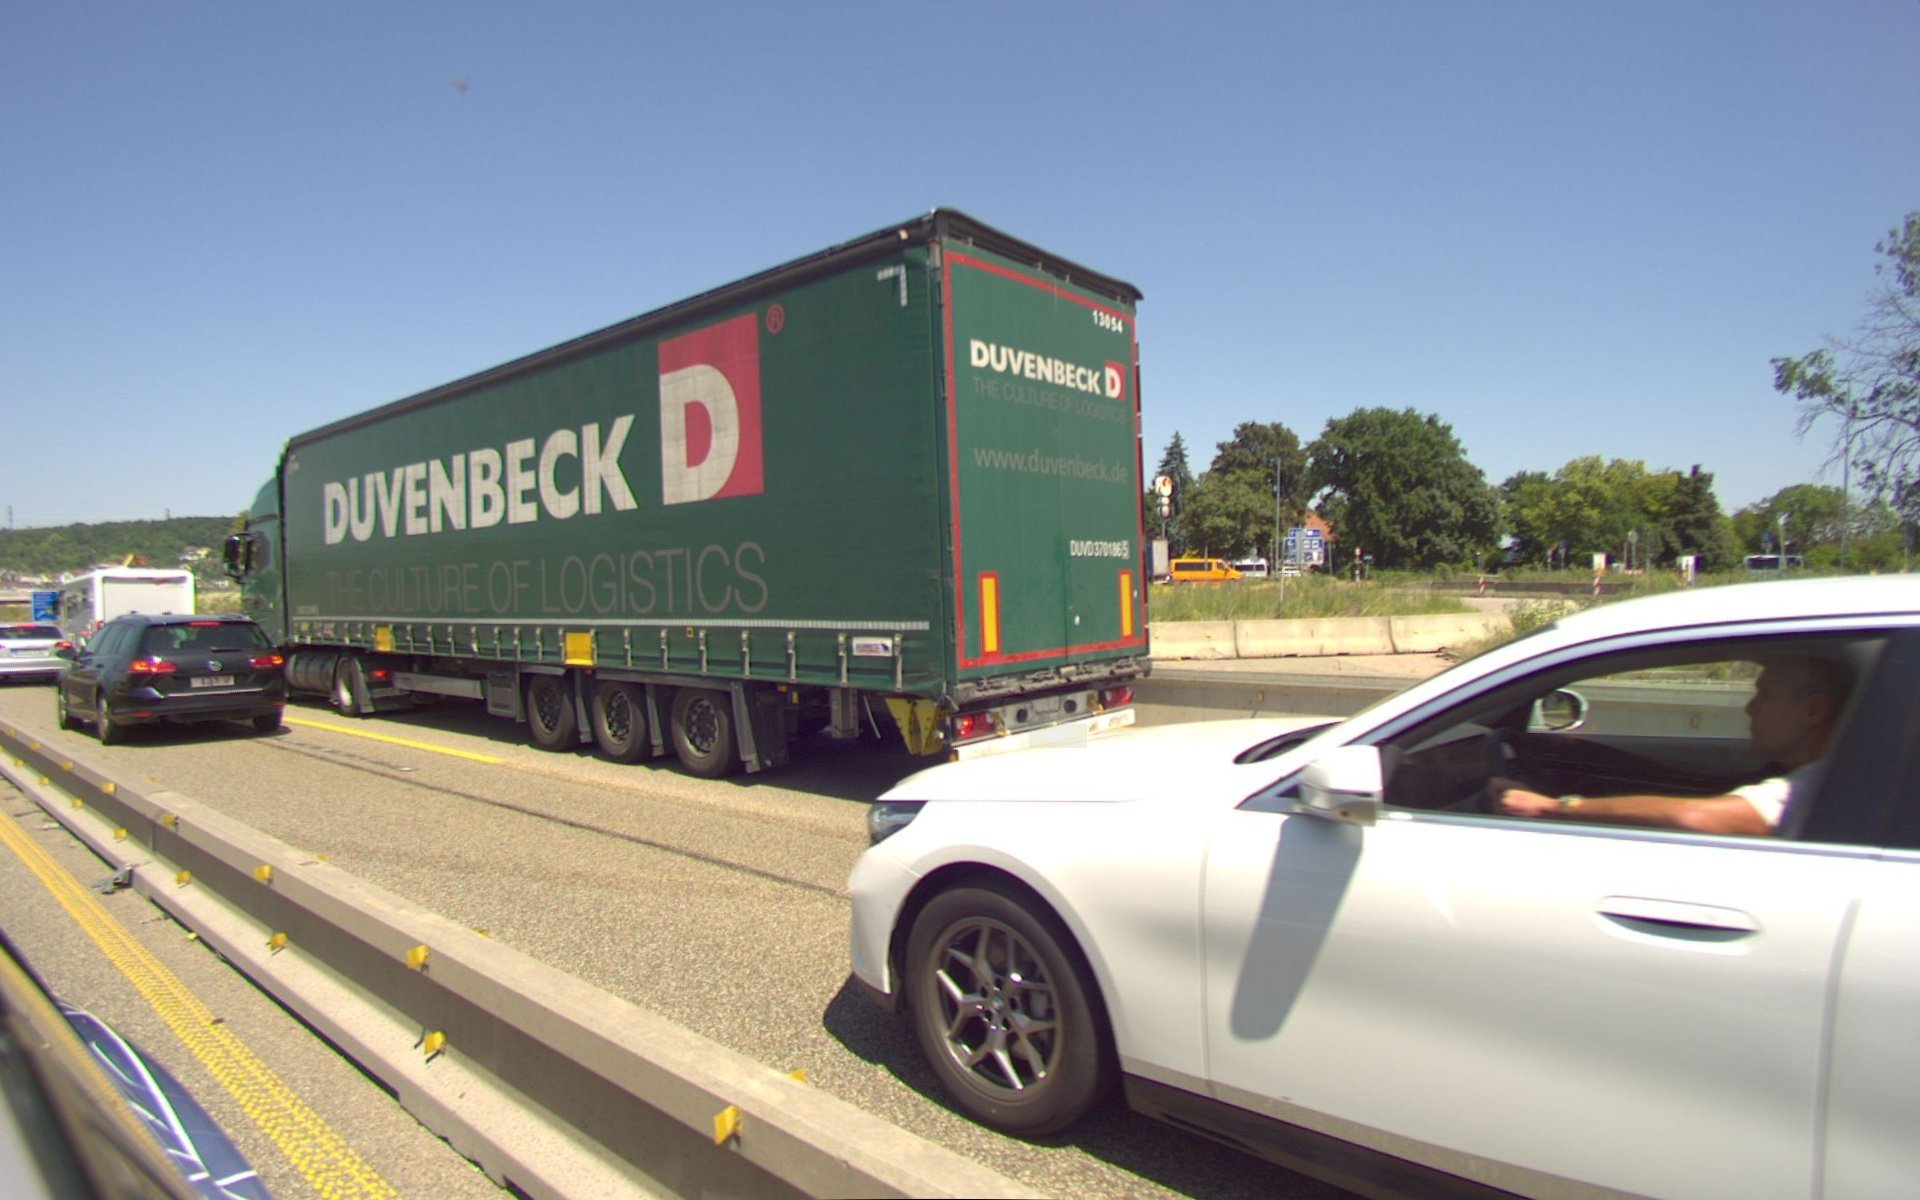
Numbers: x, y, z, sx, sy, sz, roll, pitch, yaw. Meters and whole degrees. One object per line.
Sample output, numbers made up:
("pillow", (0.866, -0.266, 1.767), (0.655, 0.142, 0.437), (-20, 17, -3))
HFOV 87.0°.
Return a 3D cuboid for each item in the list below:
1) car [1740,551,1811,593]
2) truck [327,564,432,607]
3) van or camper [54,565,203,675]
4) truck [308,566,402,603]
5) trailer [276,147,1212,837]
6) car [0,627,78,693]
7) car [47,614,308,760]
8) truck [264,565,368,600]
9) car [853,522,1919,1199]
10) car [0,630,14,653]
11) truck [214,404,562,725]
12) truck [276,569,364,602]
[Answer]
("car", (42.166, -1.469, 52.291), (3.936, 2.029, 2.004), (-3, 1, -38))
("truck", (-66.952, -1.729, 116.983), (9.740, 4.250, 3.590), (-4, 2, -6))
("van or camper", (-25.245, 0.584, 30.568), (7.823, 2.939, 2.410), (-1, 0, 43))
("truck", (-72.236, -1.921, 120.959), (9.133, 3.701, 2.867), (-4, 3, -6))
("trailer", (-4.111, -0.574, 11.877), (13.842, 4.230, 2.976), (-1, 0, 41))
("car", (-21.286, 1.295, 22.709), (3.887, 1.362, 1.692), (-1, -2, 41))
("car", (-9.815, 0.943, 12.576), (4.225, 1.484, 1.748), (-1, 0, 41))
("truck", (-84.321, -2.285, 132.716), (11.342, 3.701, 2.535), (-4, 3, -6))
("car", (2.085, 0.655, 2.208), (4.757, 1.504, 1.876), (-1, -2, 41))
("car", (-60.169, 2.593, 62.832), (3.942, 1.377, 1.630), (-1, -2, 41))
("truck", (-9.495, -0.441, 16.521), (6.279, 4.235, 2.976), (-1, 0, 41))
("truck", (-81.264, -1.815, 128.606), (9.017, 3.568, 2.696), (-4, 2, -6))
